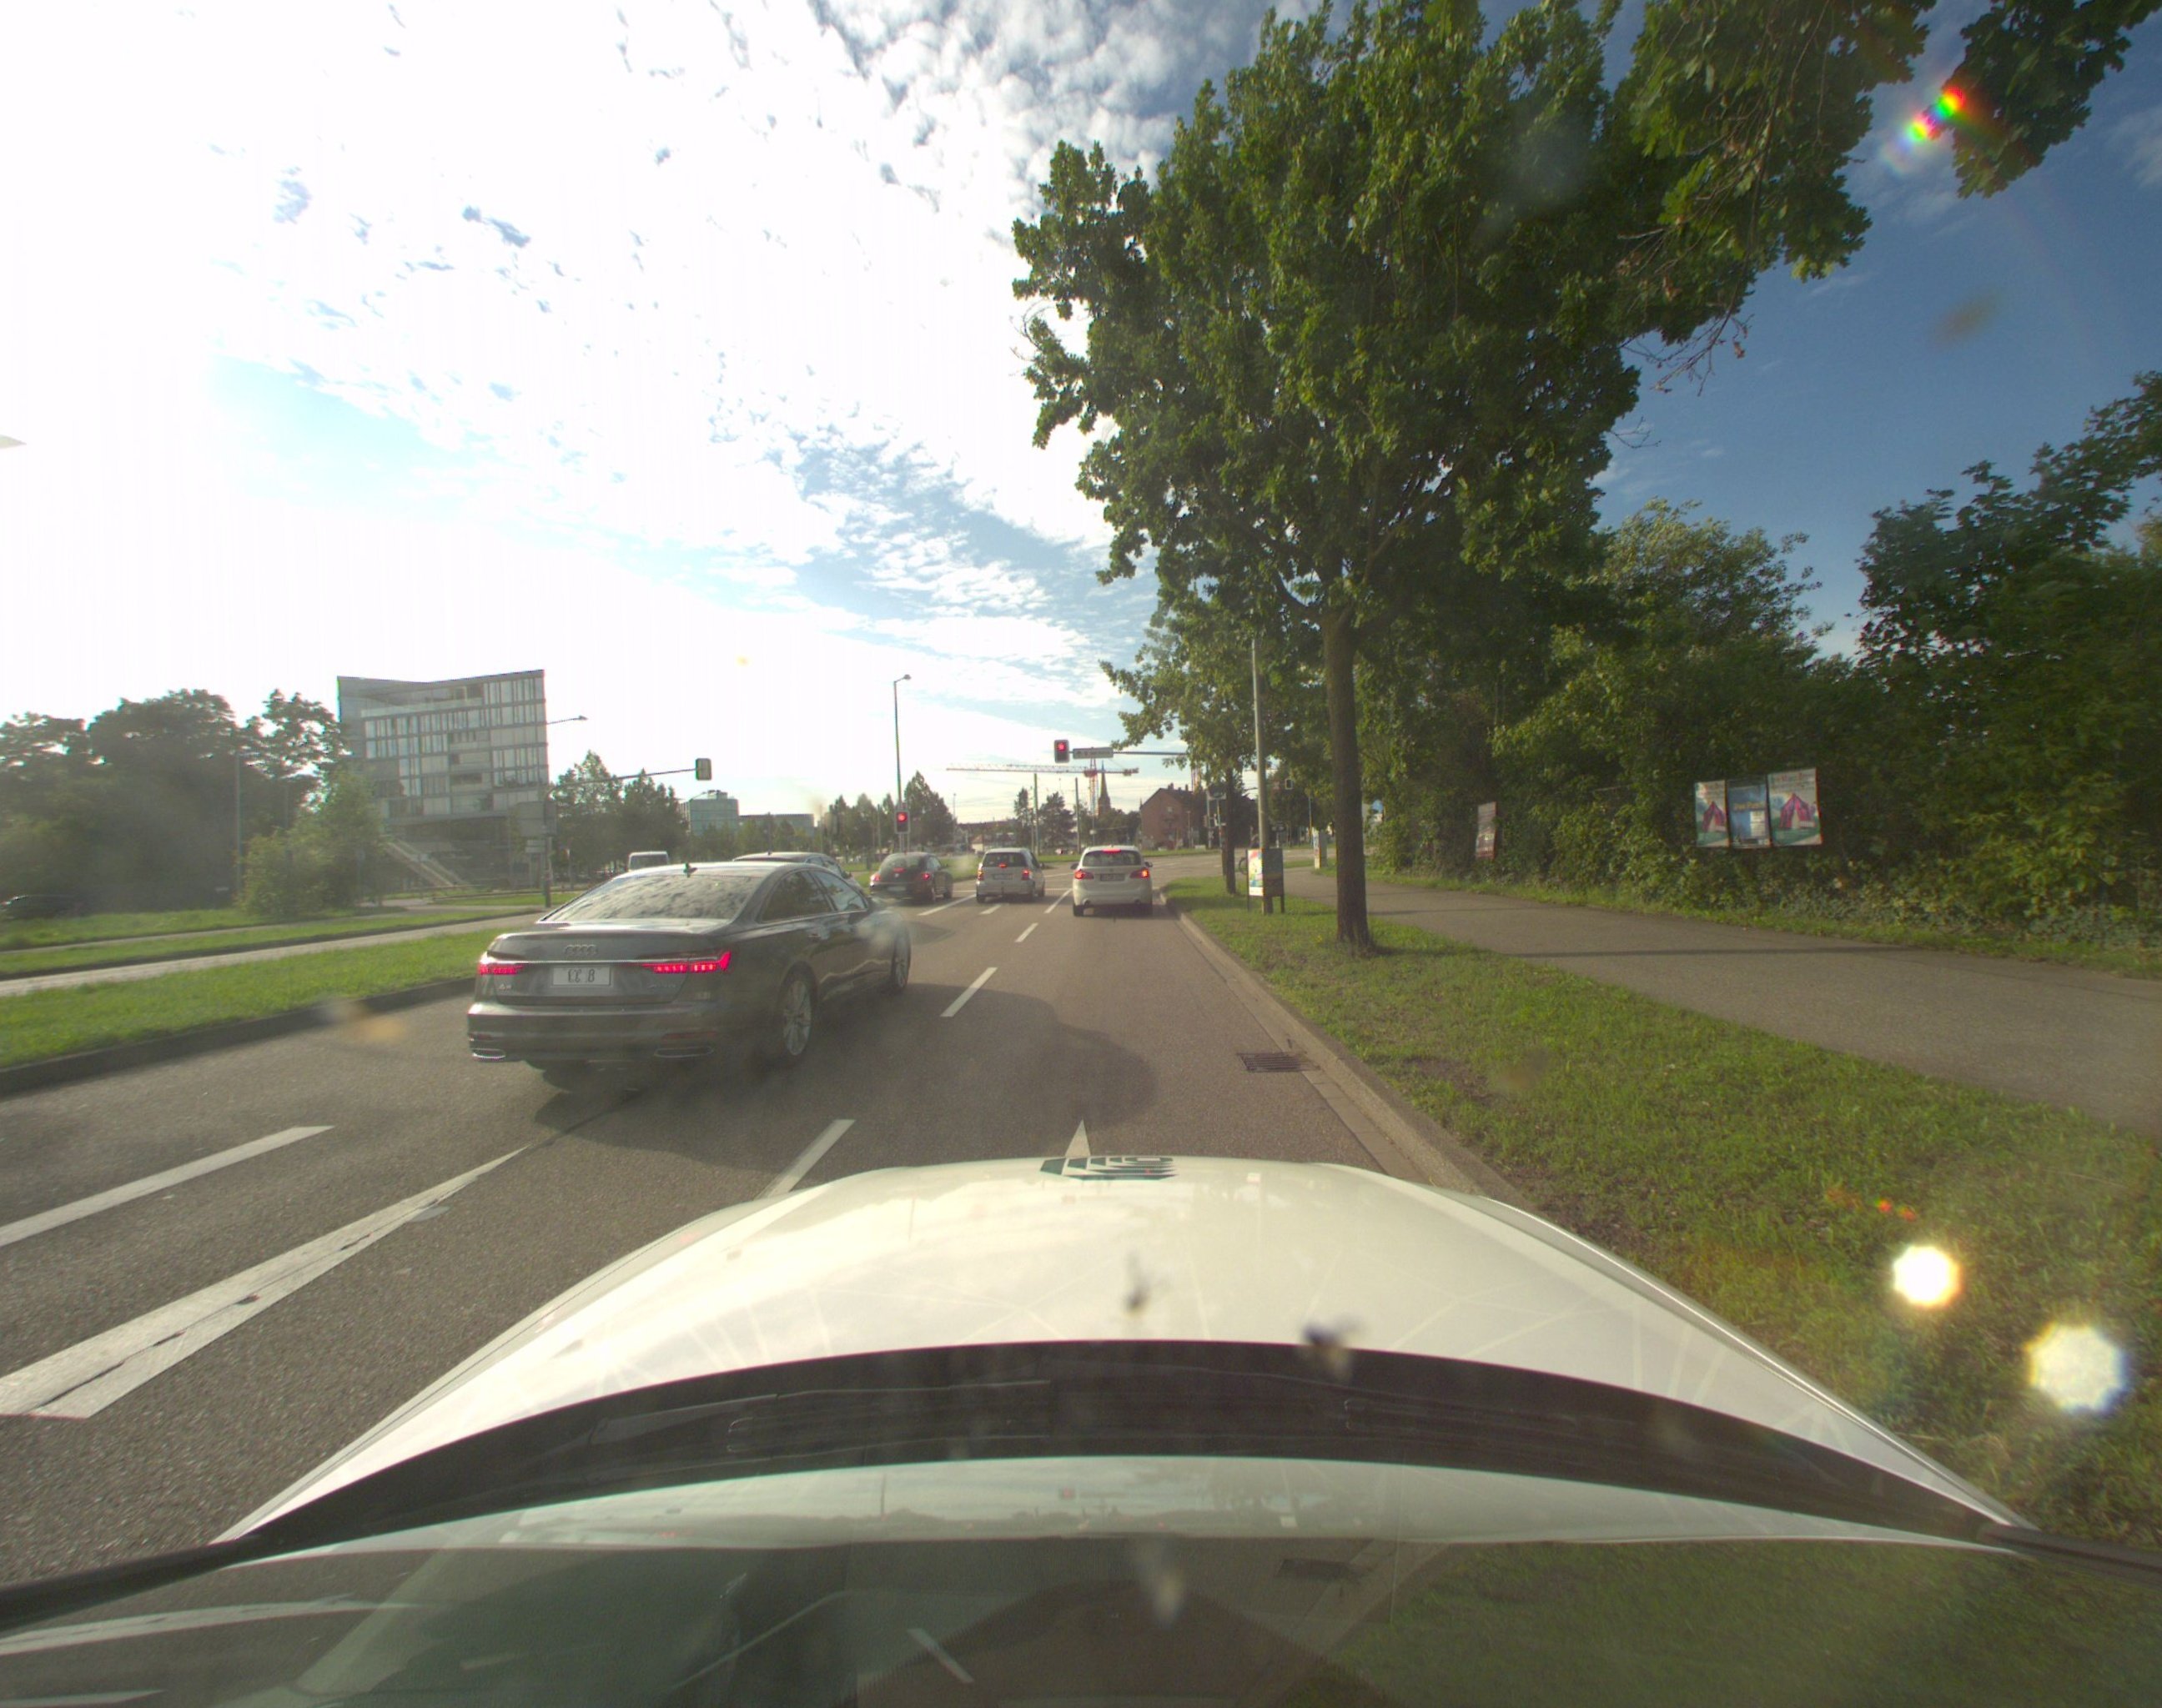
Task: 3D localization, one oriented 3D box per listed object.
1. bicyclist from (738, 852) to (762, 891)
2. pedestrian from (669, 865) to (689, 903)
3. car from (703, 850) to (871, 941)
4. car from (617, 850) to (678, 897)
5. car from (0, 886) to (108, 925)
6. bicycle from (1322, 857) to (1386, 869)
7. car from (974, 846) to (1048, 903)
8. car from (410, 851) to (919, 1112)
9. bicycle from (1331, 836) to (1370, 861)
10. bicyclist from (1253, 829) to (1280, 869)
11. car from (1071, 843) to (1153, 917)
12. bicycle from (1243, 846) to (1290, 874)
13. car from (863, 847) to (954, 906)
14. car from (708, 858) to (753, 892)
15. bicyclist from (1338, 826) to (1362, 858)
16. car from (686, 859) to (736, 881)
[{"bbox_3d":[-14.593,0.782,35.942,0.786,1.668,0.549,-3,0,-3],"label":"bicyclist"},{"bbox_3d":[-16.978,1.250,34.392,0.659,1.568,0.609,-3,0,-32],"label":"pedestrian"},{"bbox_3d":[-5.686,0.713,16.318,1.722,1.558,4.021,-1,0,2],"label":"car"},{"bbox_3d":[-22.931,1.020,43.304,2.001,2.235,5.882,-4,0,-21],"label":"car"},{"bbox_3d":[-58.462,2.876,46.205,1.975,2.014,4.023,-1,-1,44],"label":"car"},{"bbox_3d":[10.892,0.354,32.652,1.407,0.385,2.568,-3,0,-9],"label":"bicycle"},{"bbox_3d":[-2.053,0.555,24.826,1.722,1.558,4.060,-1,0,2],"label":"car"},{"bbox_3d":[-2.874,0.738,7.023,1.883,1.483,4.614,-1,0,2],"label":"car"},{"bbox_3d":[13.308,-0.260,40.213,1.728,1.163,0.652,-2,0,-15],"label":"bicycle"},{"bbox_3d":[7.935,-0.204,34.796,0.830,1.647,0.683,-4,0,-11],"label":"bicyclist"},{"bbox_3d":[0.725,0.536,19.501,1.723,1.558,4.060,-1,0,2],"label":"car"},{"bbox_3d":[7.941,0.240,34.794,1.771,1.050,0.708,-4,0,-11],"label":"bicycle"},{"bbox_3d":[-4.998,0.595,24.151,1.714,1.564,3.880,-1,1,2],"label":"car"},{"bbox_3d":[-18.347,1.087,42.799,1.710,1.573,3.975,-4,0,-18],"label":"car"},{"bbox_3d":[13.269,-0.605,40.184,0.850,1.526,0.737,-3,0,-15],"label":"bicyclist"},{"bbox_3d":[-37.052,1.594,81.673,1.804,2.014,4.263,-4,-1,29],"label":"car"}]
